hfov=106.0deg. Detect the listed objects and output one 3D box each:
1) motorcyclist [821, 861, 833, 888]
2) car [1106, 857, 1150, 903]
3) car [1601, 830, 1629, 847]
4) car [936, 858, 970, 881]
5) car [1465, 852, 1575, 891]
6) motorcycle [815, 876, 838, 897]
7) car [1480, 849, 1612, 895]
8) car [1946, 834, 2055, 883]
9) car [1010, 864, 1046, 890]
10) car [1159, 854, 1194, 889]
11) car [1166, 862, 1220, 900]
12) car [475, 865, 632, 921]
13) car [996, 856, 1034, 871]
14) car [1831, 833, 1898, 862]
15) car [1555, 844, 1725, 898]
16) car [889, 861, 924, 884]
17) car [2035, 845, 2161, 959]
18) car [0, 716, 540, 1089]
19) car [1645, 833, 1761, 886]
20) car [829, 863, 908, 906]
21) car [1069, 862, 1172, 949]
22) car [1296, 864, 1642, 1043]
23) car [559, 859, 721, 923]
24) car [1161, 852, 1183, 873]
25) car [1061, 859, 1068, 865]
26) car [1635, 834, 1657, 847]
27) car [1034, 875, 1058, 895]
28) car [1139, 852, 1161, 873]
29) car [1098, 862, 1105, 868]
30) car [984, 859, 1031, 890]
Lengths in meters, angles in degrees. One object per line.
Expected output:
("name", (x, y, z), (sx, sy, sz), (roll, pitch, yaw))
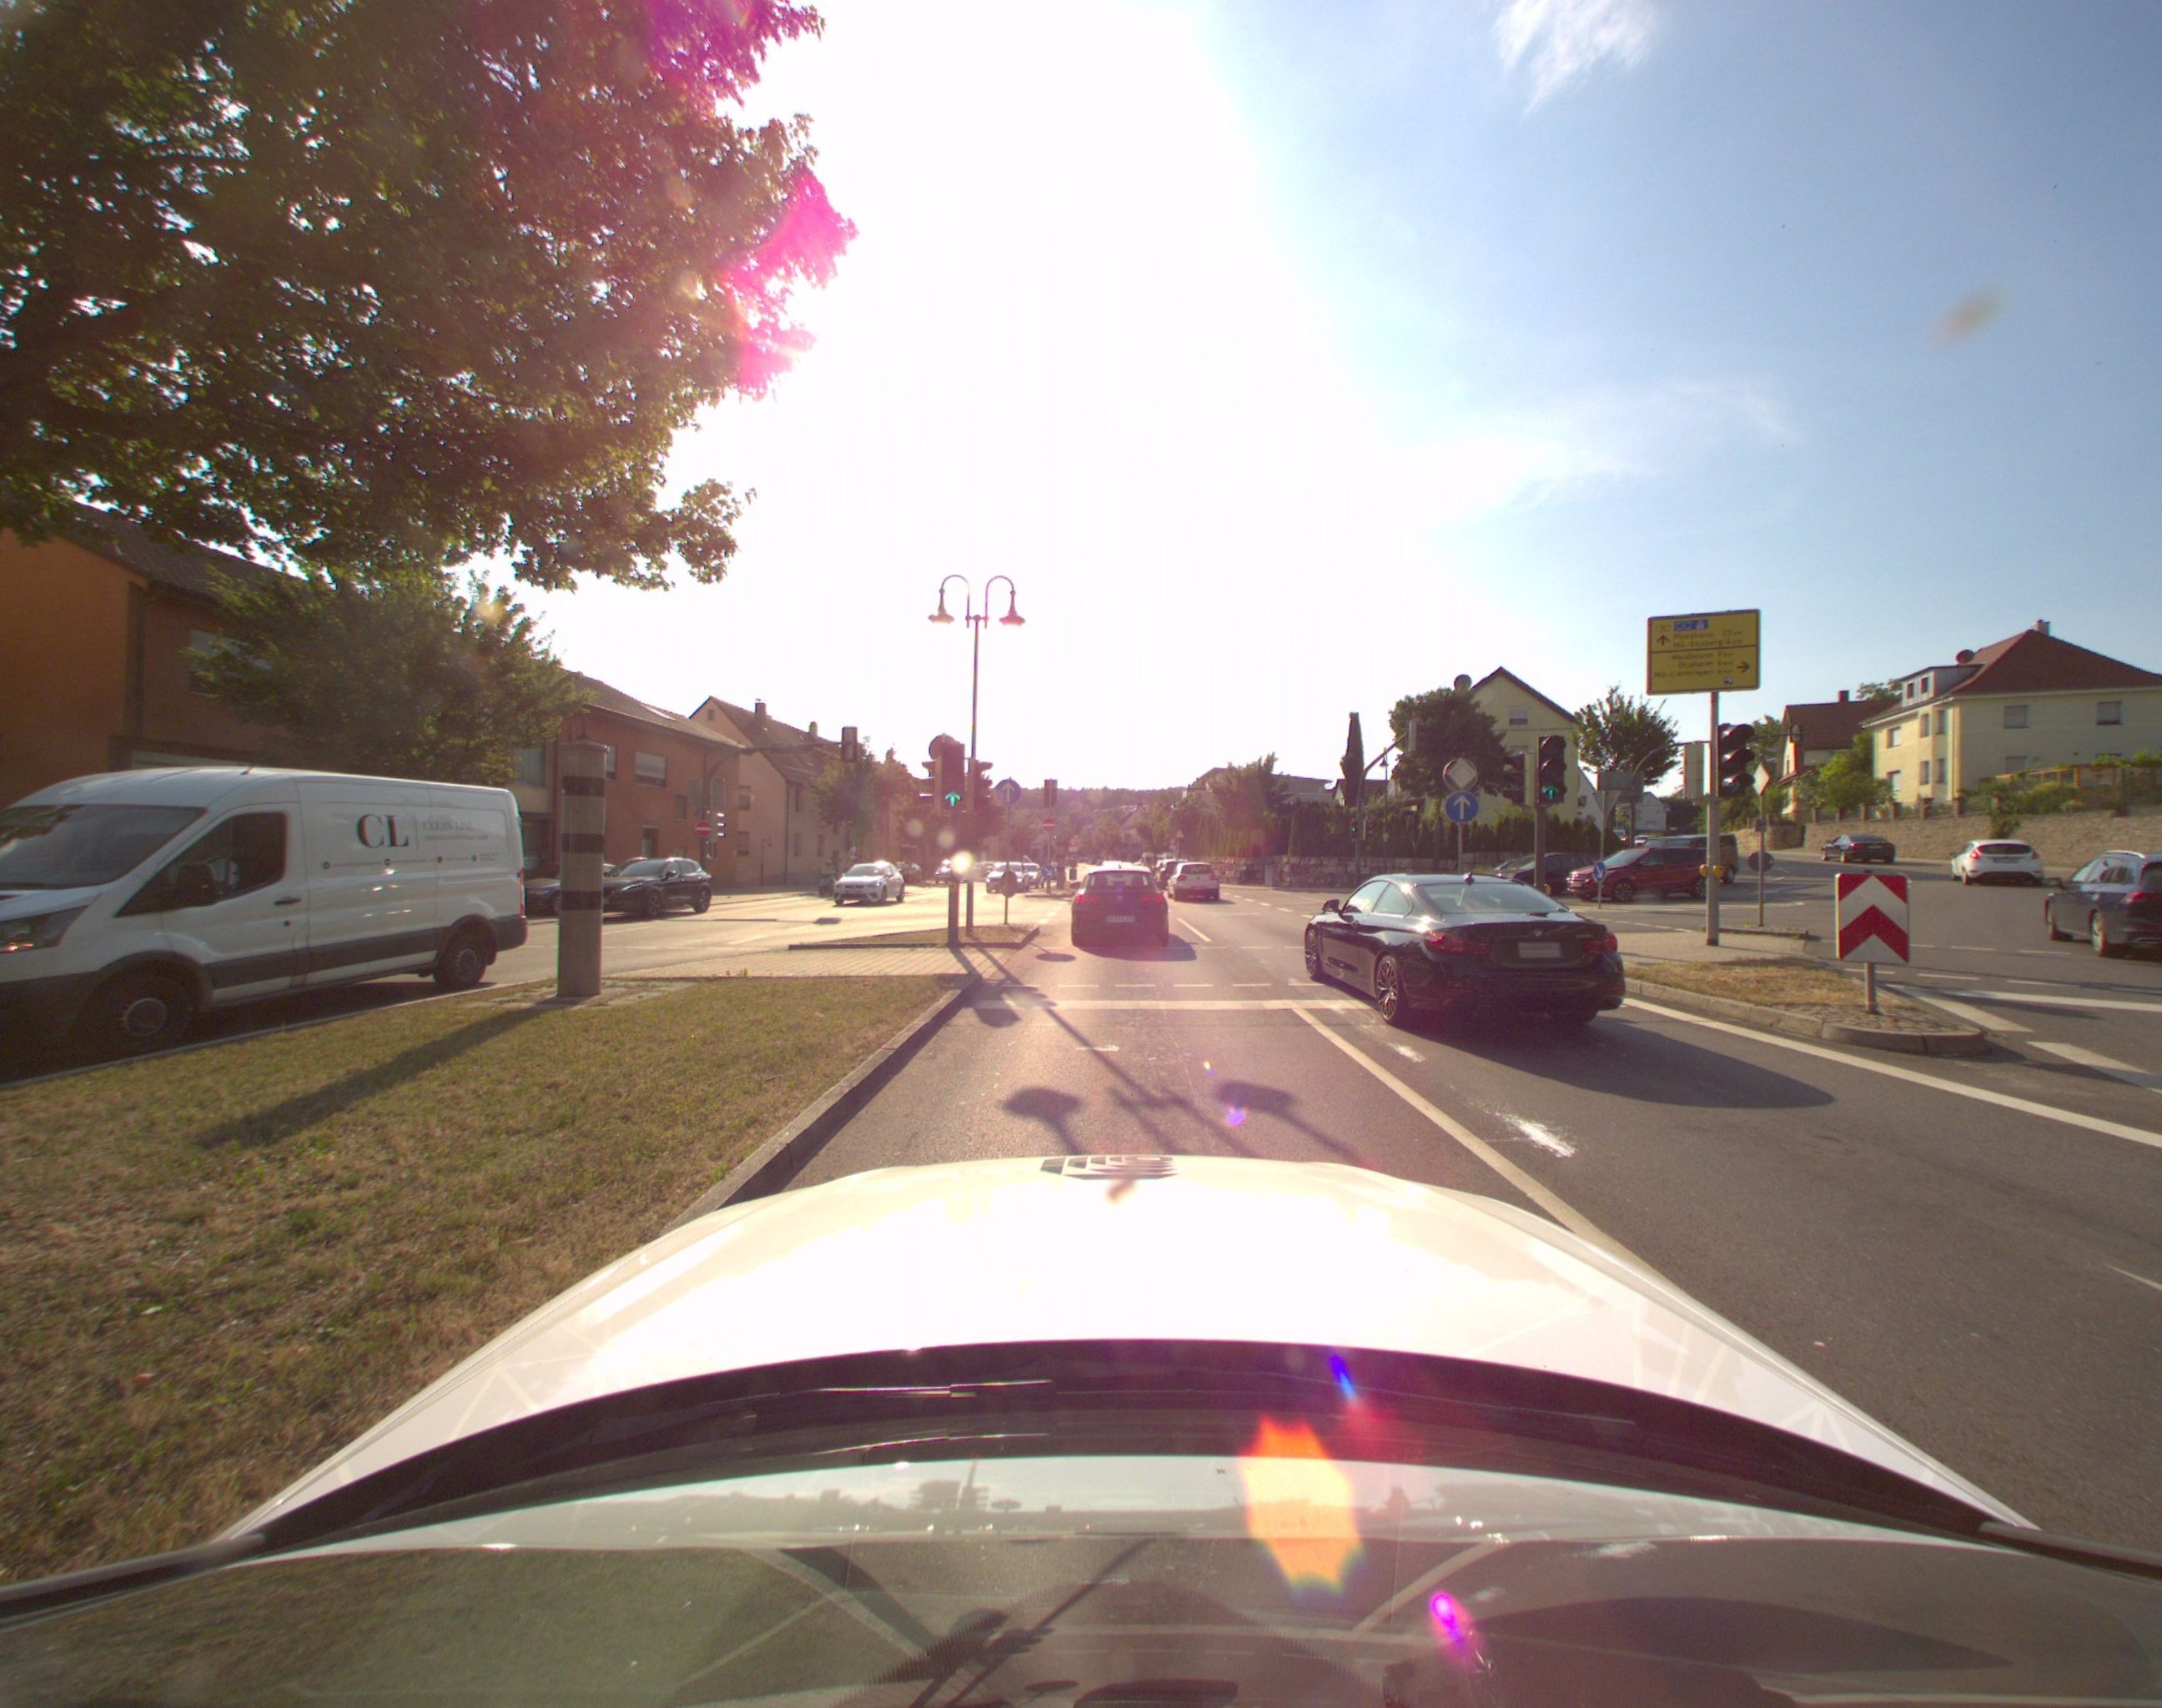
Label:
("motorcyclist", (-11.461, 0.922, 36.775), (0.401, 1.229, 0.462), (0, 0, 3))
("car", (1.766, 0.944, 31.611), (1.586, 1.600, 3.895), (0, 1, 1))
("car", (45.490, -1.317, 69.342), (1.794, 1.344, 4.025), (0, 0, 35))
("car", (-9.511, 1.149, 60.864), (1.679, 1.612, 4.415), (0, -1, 2))
("car", (17.837, 0.708, 33.157), (3.589, 1.450, 1.625), (-2, -1, -3))
("motorcycle", (-11.460, 1.466, 36.717), (0.410, 0.860, 1.764), (0, 0, 3))
("car", (16.598, 0.642, 29.197), (3.770, 1.542, 1.600), (-1, 0, 3))
("car", (30.224, 0.150, 26.897), (1.844, 1.494, 4.025), (0, 0, 41))
("car", (-3.002, 1.315, 46.763), (1.582, 1.427, 3.582), (0, -1, 4))
("car", (5.074, 0.904, 43.620), (1.596, 1.767, 3.413), (0, 0, 2))
("car", (4.359, 1.027, 32.056), (1.747, 1.414, 3.422), (0, 0, 1))
("car", (-14.915, 1.048, 23.314), (1.788, 1.414, 3.944), (-1, 0, 3))
("car", (-11.127, 1.605, 138.053), (6.138, 2.445, 2.249), (1, 0, 0))
("car", (38.969, -0.309, 40.610), (1.794, 1.344, 4.025), (0, 0, 35))
("car", (17.628, 0.516, 25.785), (4.231, 1.626, 1.859), (0, 0, -5))
("car", (-12.483, 1.298, 58.421), (1.613, 1.510, 4.133), (0, 0, 0))
("car", (15.181, 0.586, 11.501), (1.614, 1.410, 4.304), (-1, 0, 42))
("car", (-8.204, 0.328, 8.021), (2.078, 2.475, 5.478), (0, 0, 0))
("car", (24.533, 0.206, 32.054), (5.197, 1.932, 1.980), (0, 0, -33))
("car", (-7.693, 1.061, 29.787), (1.751, 1.411, 4.001), (0, 0, 1))
("car", (0.721, 0.908, 15.771), (1.765, 1.456, 3.516), (-1, 0, 1))
("car", (3.653, 0.818, 8.625), (1.693, 1.369, 4.263), (-1, 0, 1))
("car", (-12.098, 0.938, 22.721), (1.846, 1.595, 4.465), (0, 0, 4))
("car", (12.048, 1.089, 108.181), (2.105, 2.722, 6.439), (0, 0, -1))
("car", (-4.385, 2.212, 216.562), (1.592, 1.485, 3.473), (1, 0, -1))
("car", (59.223, -1.378, 85.357), (1.794, 1.344, 4.025), (0, 0, 35))
("car", (-2.716, 2.436, 64.251), (1.526, 1.462, 3.509), (0, 0, 3))
("car", (9.083, 1.136, 107.848), (2.143, 2.680, 6.599), (0, 0, -1))
("car", (5.202, 2.680, 204.439), (1.592, 1.485, 3.473), (1, 0, -1))
("car", (-3.628, 0.987, 40.845), (1.828, 1.488, 4.568), (0, 0, 2))
